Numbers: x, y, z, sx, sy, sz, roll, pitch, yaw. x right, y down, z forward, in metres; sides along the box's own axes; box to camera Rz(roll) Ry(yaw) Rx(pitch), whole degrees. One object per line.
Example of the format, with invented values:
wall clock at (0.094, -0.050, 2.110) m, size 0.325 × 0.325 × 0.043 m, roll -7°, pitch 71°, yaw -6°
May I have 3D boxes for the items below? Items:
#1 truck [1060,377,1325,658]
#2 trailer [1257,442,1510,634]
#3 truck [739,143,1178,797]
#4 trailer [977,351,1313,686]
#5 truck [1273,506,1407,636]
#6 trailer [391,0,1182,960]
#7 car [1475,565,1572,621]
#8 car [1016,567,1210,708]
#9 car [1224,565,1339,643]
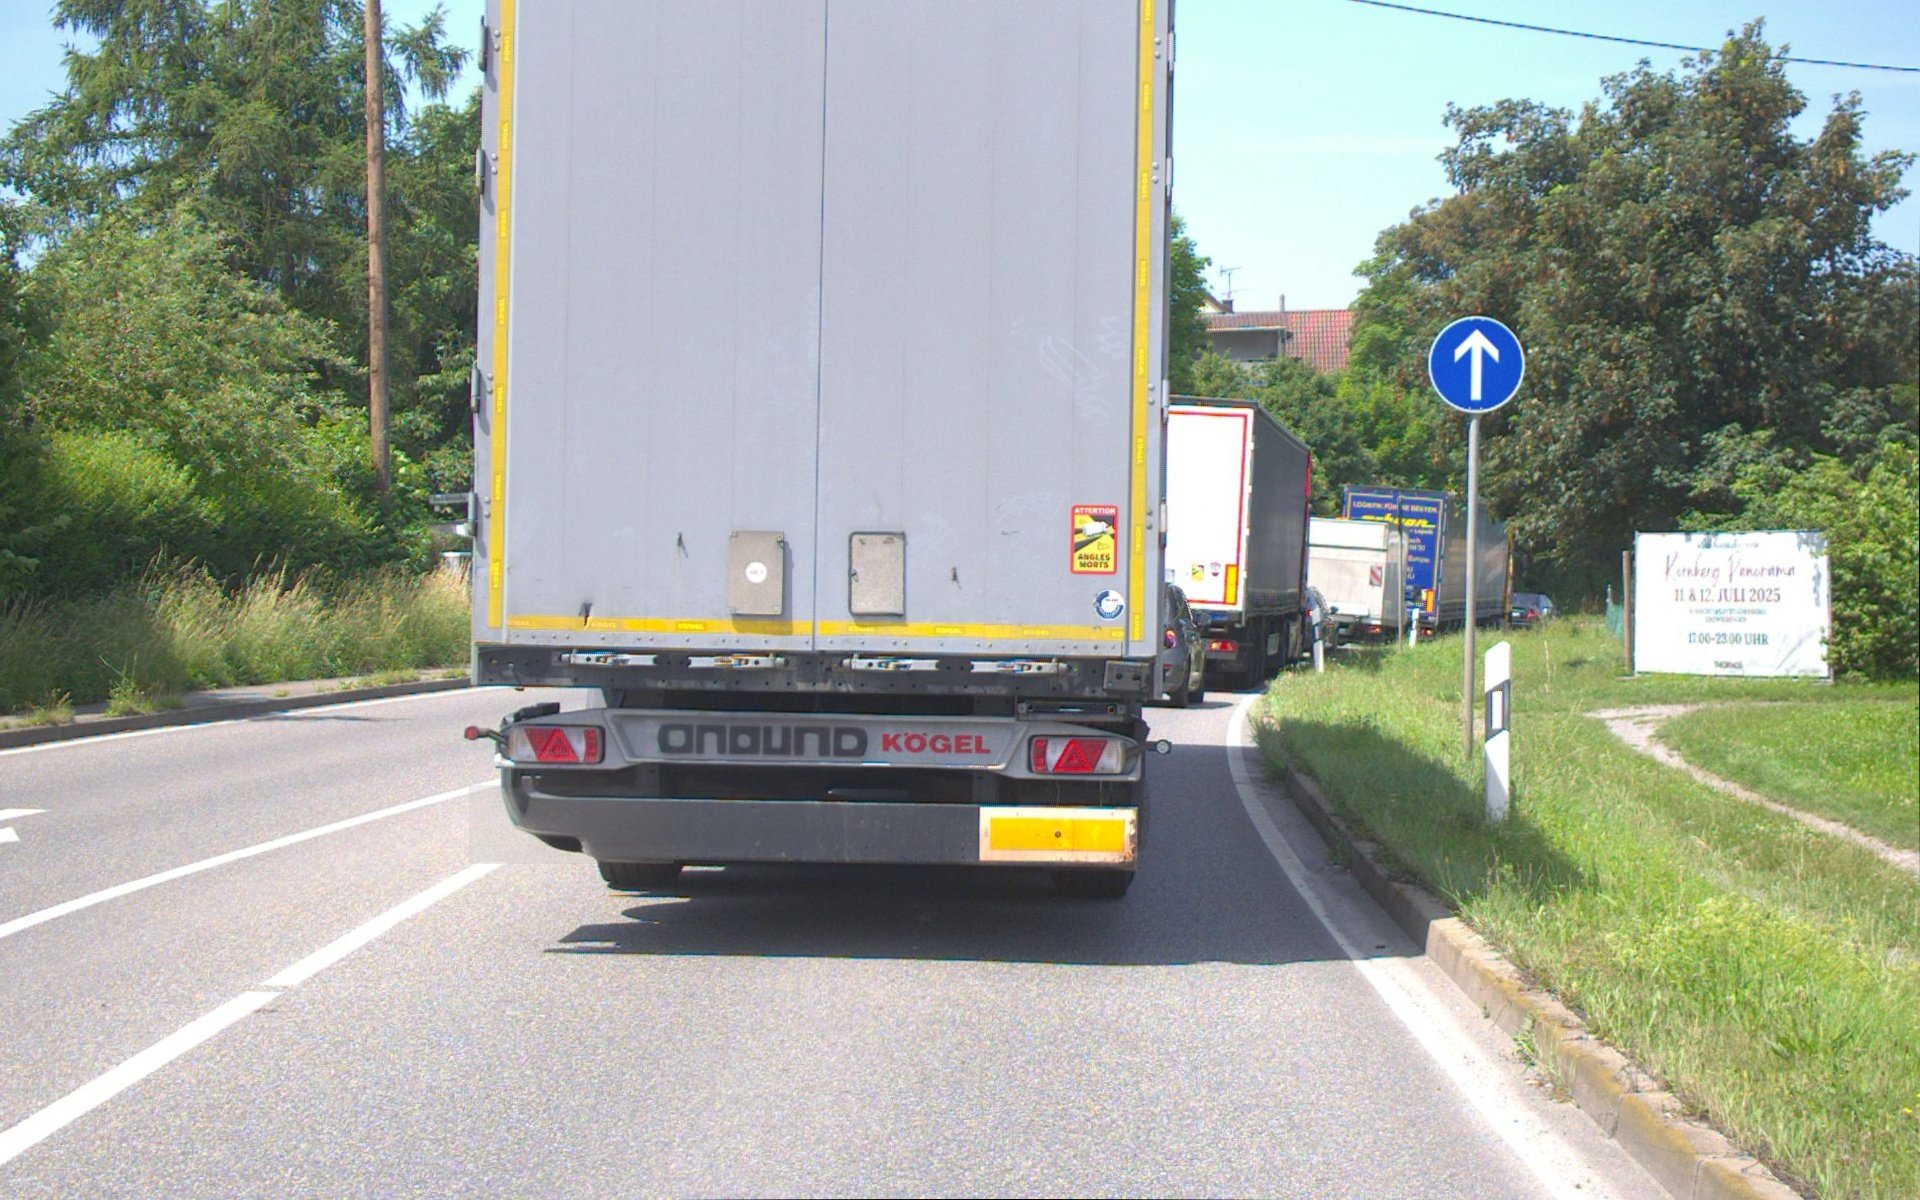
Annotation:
truck at (4.171, -1.384, 59.873) m, size 3.938 × 4.559 × 7.149 m, roll 1°, pitch 1°, yaw 9°
trailer at (11.631, -1.669, 92.270) m, size 5.182 × 4.612 × 15.887 m, roll 1°, pitch 1°, yaw 12°
truck at (0.177, -0.902, 25.173) m, size 2.746 × 4.151 × 6.142 m, roll 1°, pitch 1°, yaw 4°
trailer at (3.153, -1.173, 53.091) m, size 3.892 × 4.505 × 12.708 m, roll 1°, pitch 1°, yaw 9°
truck at (8.734, -0.691, 78.583) m, size 2.422 × 2.828 × 5.409 m, roll 1°, pitch 1°, yaw 12°
trailer at (-0.263, -0.957, 18.354) m, size 2.787 × 4.191 × 12.110 m, roll 1°, pitch 1°, yaw 3°
car at (17.653, -0.234, 107.529) m, size 1.996 × 1.678 × 3.995 m, roll 2°, pitch 1°, yaw 24°
car at (1.893, 0.408, 41.297) m, size 1.994 × 1.525 × 3.999 m, roll 1°, pitch 1°, yaw 7°
car at (6.610, 0.058, 70.426) m, size 1.842 × 1.481 × 3.998 m, roll 1°, pitch 1°, yaw 12°
